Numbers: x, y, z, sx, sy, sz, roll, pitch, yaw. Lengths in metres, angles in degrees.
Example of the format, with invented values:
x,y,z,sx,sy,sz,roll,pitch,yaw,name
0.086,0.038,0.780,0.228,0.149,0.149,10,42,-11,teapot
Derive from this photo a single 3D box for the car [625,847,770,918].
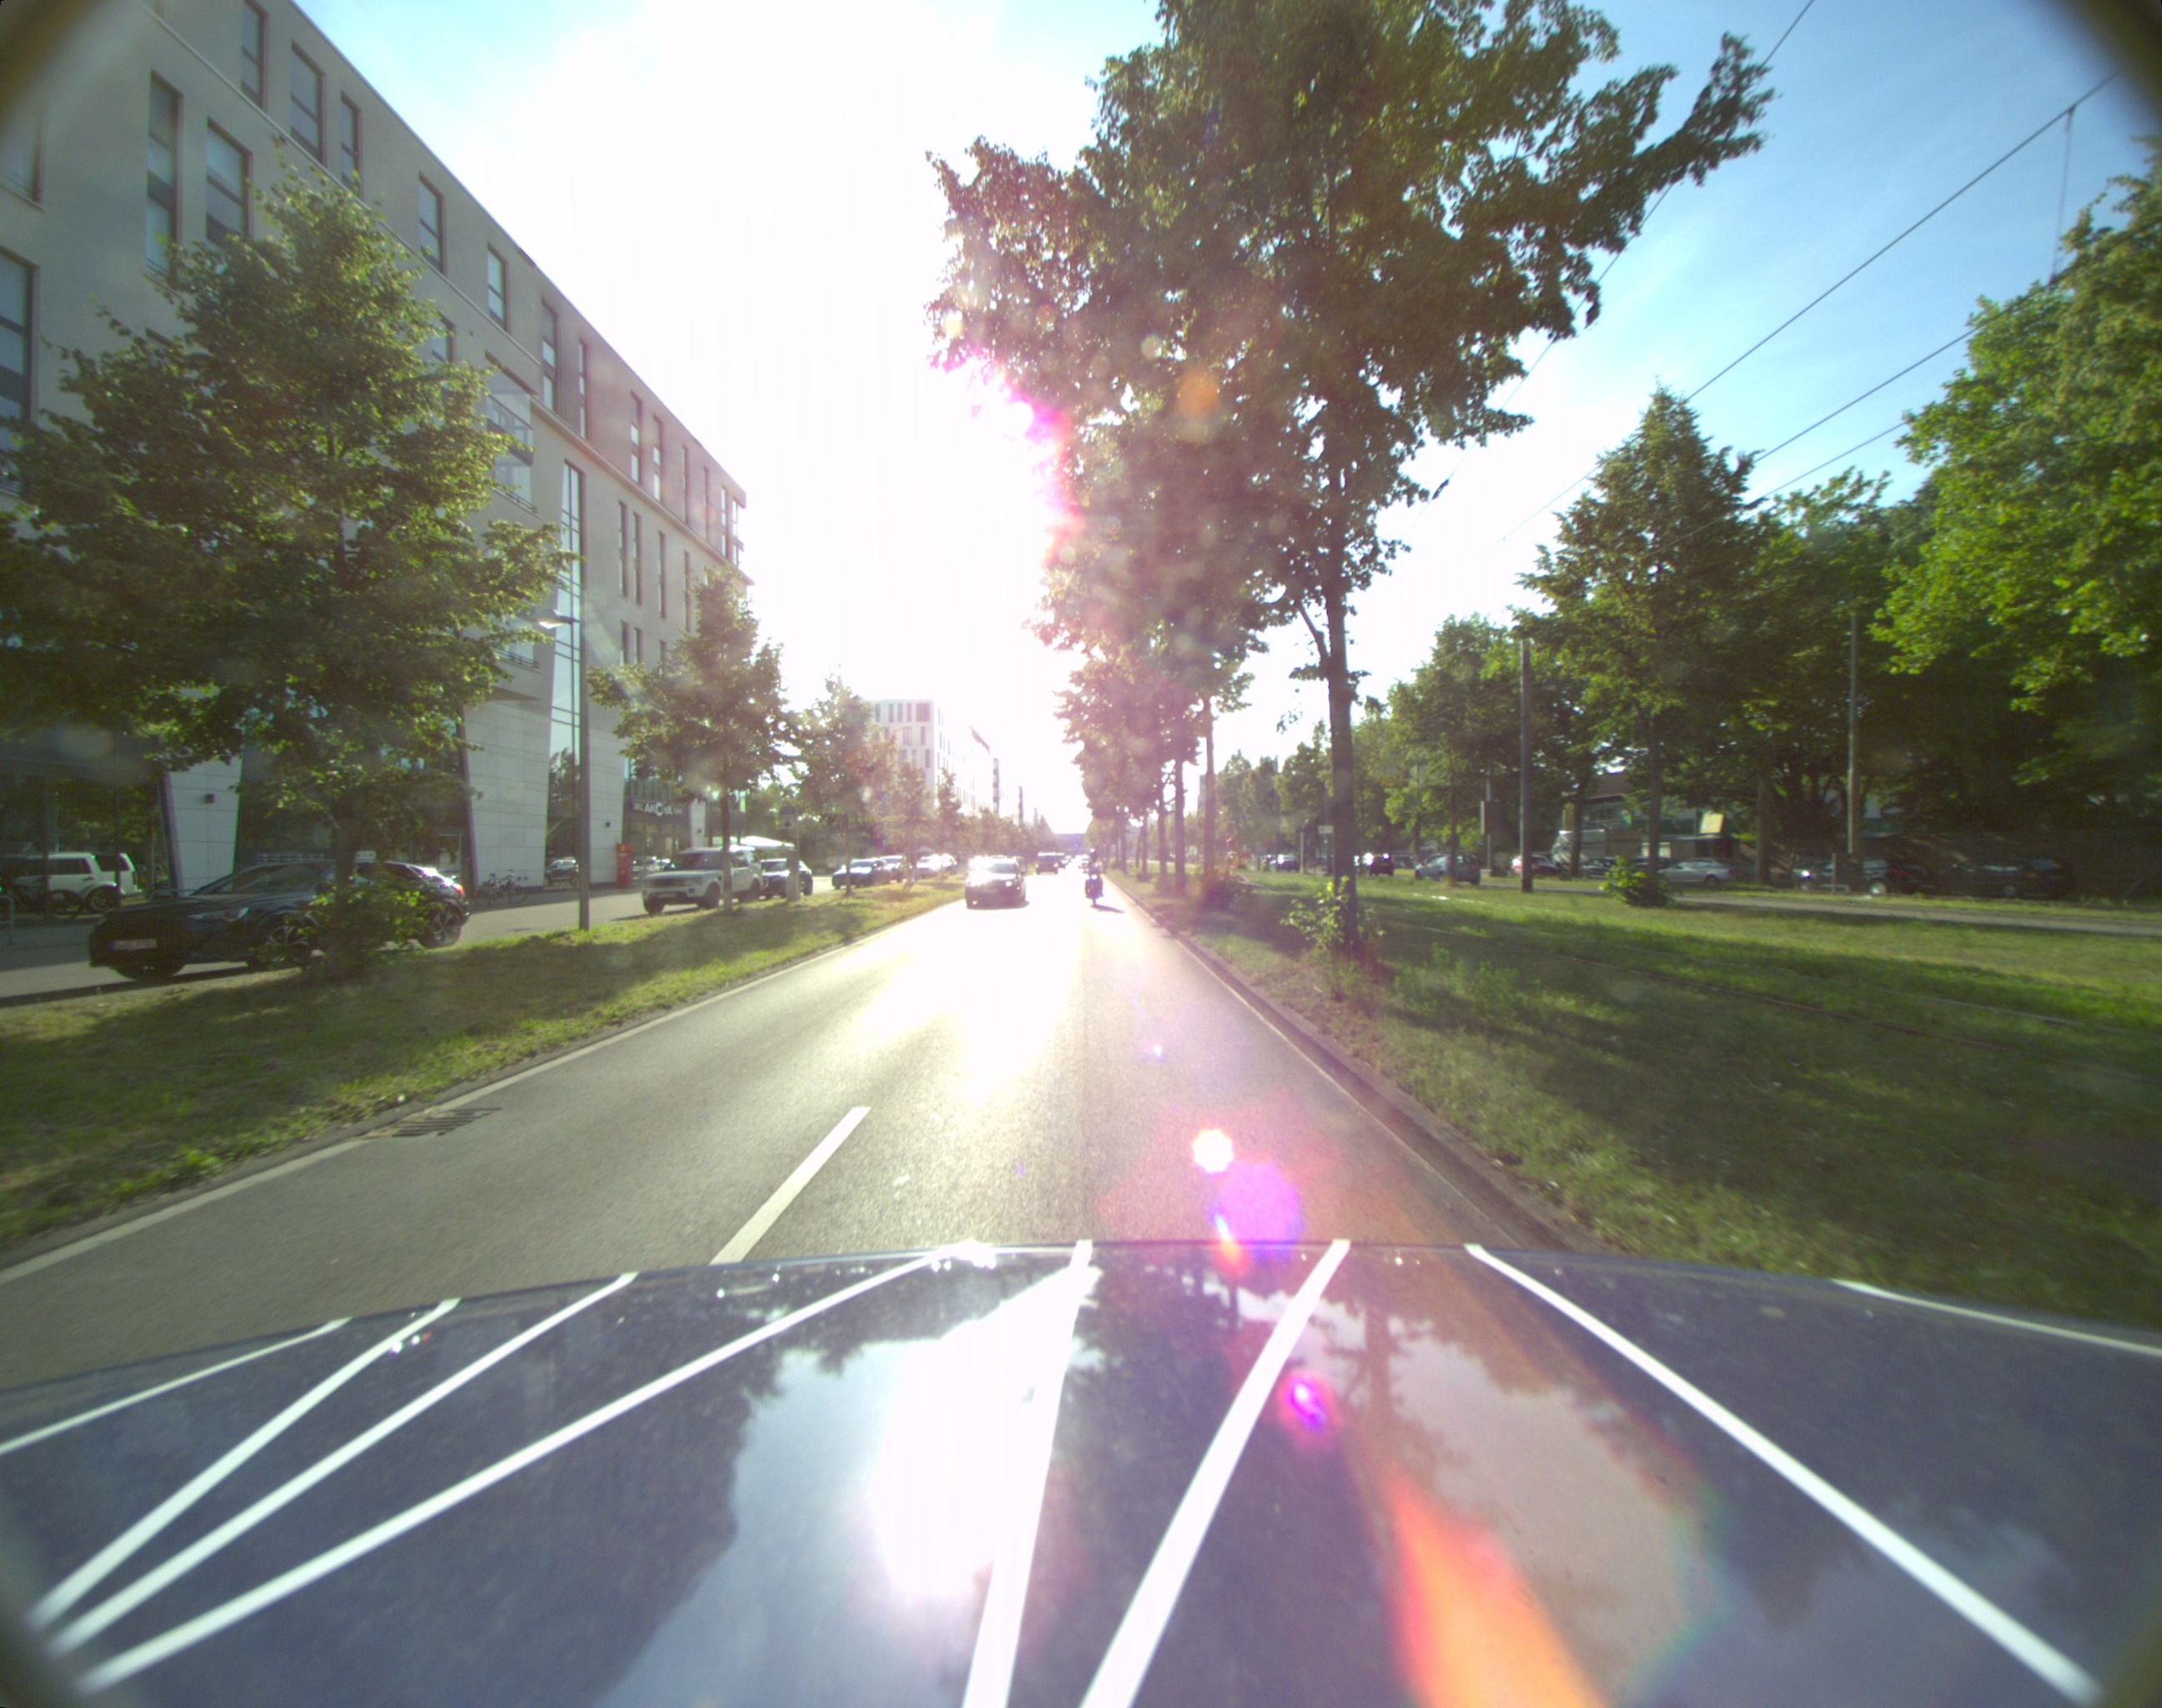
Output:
x,y,z,sx,sy,sz,roll,pitch,yaw,name
-11.443,0.753,23.156,1.899,1.863,4.843,-2,1,0,car

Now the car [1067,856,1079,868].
x,y,z,sx,sy,sz,roll,pitch,yaw,name
-1.254,1.299,122.430,1.740,1.777,3.893,-2,1,1,car

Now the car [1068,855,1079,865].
x,y,z,sx,sy,sz,roll,pitch,yaw,name
-1.380,1.045,140.082,1.740,1.777,3.893,-2,1,1,car

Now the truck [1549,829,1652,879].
x,y,z,sx,sy,sz,roll,pitch,yaw,name
39.853,-0.075,58.684,2.895,3.496,7.946,-2,1,5,truck

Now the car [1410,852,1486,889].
x,y,z,sx,sy,sz,roll,pitch,yaw,name
17.287,0.729,36.009,1.614,1.523,4.132,-2,1,0,car

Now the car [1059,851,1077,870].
x,y,z,sx,sy,sz,roll,pitch,yaw,name
-1.549,0.745,89.843,1.909,2.002,3.999,-2,1,0,car

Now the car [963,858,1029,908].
x,y,z,sx,sy,sz,roll,pitch,yaw,name
-2.775,0.924,25.574,1.698,1.416,4.038,-2,1,0,car

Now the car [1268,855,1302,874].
x,y,z,sx,sy,sz,roll,pitch,yaw,name
17.504,0.862,65.391,1.686,1.427,4.670,-2,1,0,car

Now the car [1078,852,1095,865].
x,y,z,sx,sy,sz,roll,pitch,yaw,name
0.629,0.516,91.224,1.756,1.427,4.034,-2,1,-3,car

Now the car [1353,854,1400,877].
x,y,z,sx,sy,sz,roll,pitch,yaw,name
20.460,0.756,52.814,1.686,1.427,4.035,-2,1,0,car

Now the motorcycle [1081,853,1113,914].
x,y,z,sx,sy,sz,roll,pitch,yaw,name
0.459,0.830,22.659,0.798,1.659,2.633,-2,1,-1,motorcycle

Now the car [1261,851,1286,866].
x,y,z,sx,sy,sz,roll,pitch,yaw,name
20.725,0.435,81.947,1.686,1.515,3.929,-1,1,0,car

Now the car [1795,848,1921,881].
x,y,z,sx,sy,sz,roll,pitch,yaw,name
36.869,0.458,36.226,1.701,1.367,4.386,-2,1,4,car

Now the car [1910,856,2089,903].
x,y,z,sx,sy,sz,roll,pitch,yaw,name
36.626,0.967,30.522,1.835,1.602,4.474,-2,1,1,car

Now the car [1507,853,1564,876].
x,y,z,sx,sy,sz,roll,pitch,yaw,name
28.921,0.630,48.472,1.586,1.269,3.961,-2,1,7,car

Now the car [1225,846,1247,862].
x,y,z,sx,sy,sz,roll,pitch,yaw,name
18.804,-0.026,92.299,1.686,1.853,4.218,-2,1,0,car

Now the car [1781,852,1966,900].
x,y,z,sx,sy,sz,roll,pitch,yaw,name
27.425,0.690,26.555,1.835,1.423,4.474,-2,1,1,car

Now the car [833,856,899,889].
x,y,z,sx,sy,sz,roll,pitch,yaw,name
-11.265,0.932,40.171,1.764,1.479,4.919,-2,1,3,car

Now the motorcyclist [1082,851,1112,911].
x,y,z,sx,sy,sz,roll,pitch,yaw,name
0.477,0.793,22.747,0.814,1.699,0.843,-2,1,-1,motorcyclist

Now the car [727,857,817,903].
x,y,z,sx,sy,sz,roll,pitch,yaw,name
-11.530,0.935,28.698,1.765,1.479,4.209,-2,1,-2,car

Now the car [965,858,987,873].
x,y,z,sx,sy,sz,roll,pitch,yaw,name
-11.716,1.225,84.817,1.840,1.521,4.327,-2,1,0,car

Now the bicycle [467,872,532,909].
x,y,z,sx,sy,sz,roll,pitch,yaw,name
-18.453,1.128,24.154,0.512,1.064,1.983,1,1,1,bicycle

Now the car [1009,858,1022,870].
x,y,z,sx,sy,sz,roll,pitch,yaw,name
-11.227,1.707,130.764,1.740,1.777,3.893,-2,1,0,car

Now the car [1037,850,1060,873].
x,y,z,sx,sy,sz,roll,pitch,yaw,name
-2.956,0.627,68.974,1.803,1.880,4.820,-2,1,0,car

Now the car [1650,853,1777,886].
x,y,z,sx,sy,sz,roll,pitch,yaw,name
28.161,0.643,34.067,1.680,1.236,4.900,-2,1,1,car

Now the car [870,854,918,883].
x,y,z,sx,sy,sz,roll,pitch,yaw,name
-11.306,0.847,46.256,1.764,1.588,4.327,-2,1,0,car

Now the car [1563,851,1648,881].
x,y,z,sx,sy,sz,roll,pitch,yaw,name
27.474,0.576,39.965,1.675,1.423,3.959,-2,1,0,car

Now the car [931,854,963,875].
x,y,z,sx,sy,sz,roll,pitch,yaw,name
-11.104,0.840,63.030,1.840,1.521,4.327,-2,1,0,car

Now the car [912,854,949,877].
x,y,z,sx,sy,sz,roll,pitch,yaw,name
-11.121,0.852,56.587,1.840,1.521,4.327,-2,1,0,car

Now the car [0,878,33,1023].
x,y,z,sx,sy,sz,roll,pitch,yaw,name
-11.583,1.014,5.682,1.733,1.424,4.113,-2,1,-1,car

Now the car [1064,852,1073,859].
x,y,z,sx,sy,sz,roll,pitch,yaw,name
-2.652,0.322,163.727,1.840,1.521,4.327,-2,1,0,car

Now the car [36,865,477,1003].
x,y,z,sx,sy,sz,roll,pitch,yaw,name
-11.618,0.986,11.320,1.873,1.483,4.412,-2,1,-4,car

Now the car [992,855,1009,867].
x,y,z,sx,sy,sz,roll,pitch,yaw,name
-10.984,0.972,103.810,1.840,1.521,4.327,-2,1,0,car
